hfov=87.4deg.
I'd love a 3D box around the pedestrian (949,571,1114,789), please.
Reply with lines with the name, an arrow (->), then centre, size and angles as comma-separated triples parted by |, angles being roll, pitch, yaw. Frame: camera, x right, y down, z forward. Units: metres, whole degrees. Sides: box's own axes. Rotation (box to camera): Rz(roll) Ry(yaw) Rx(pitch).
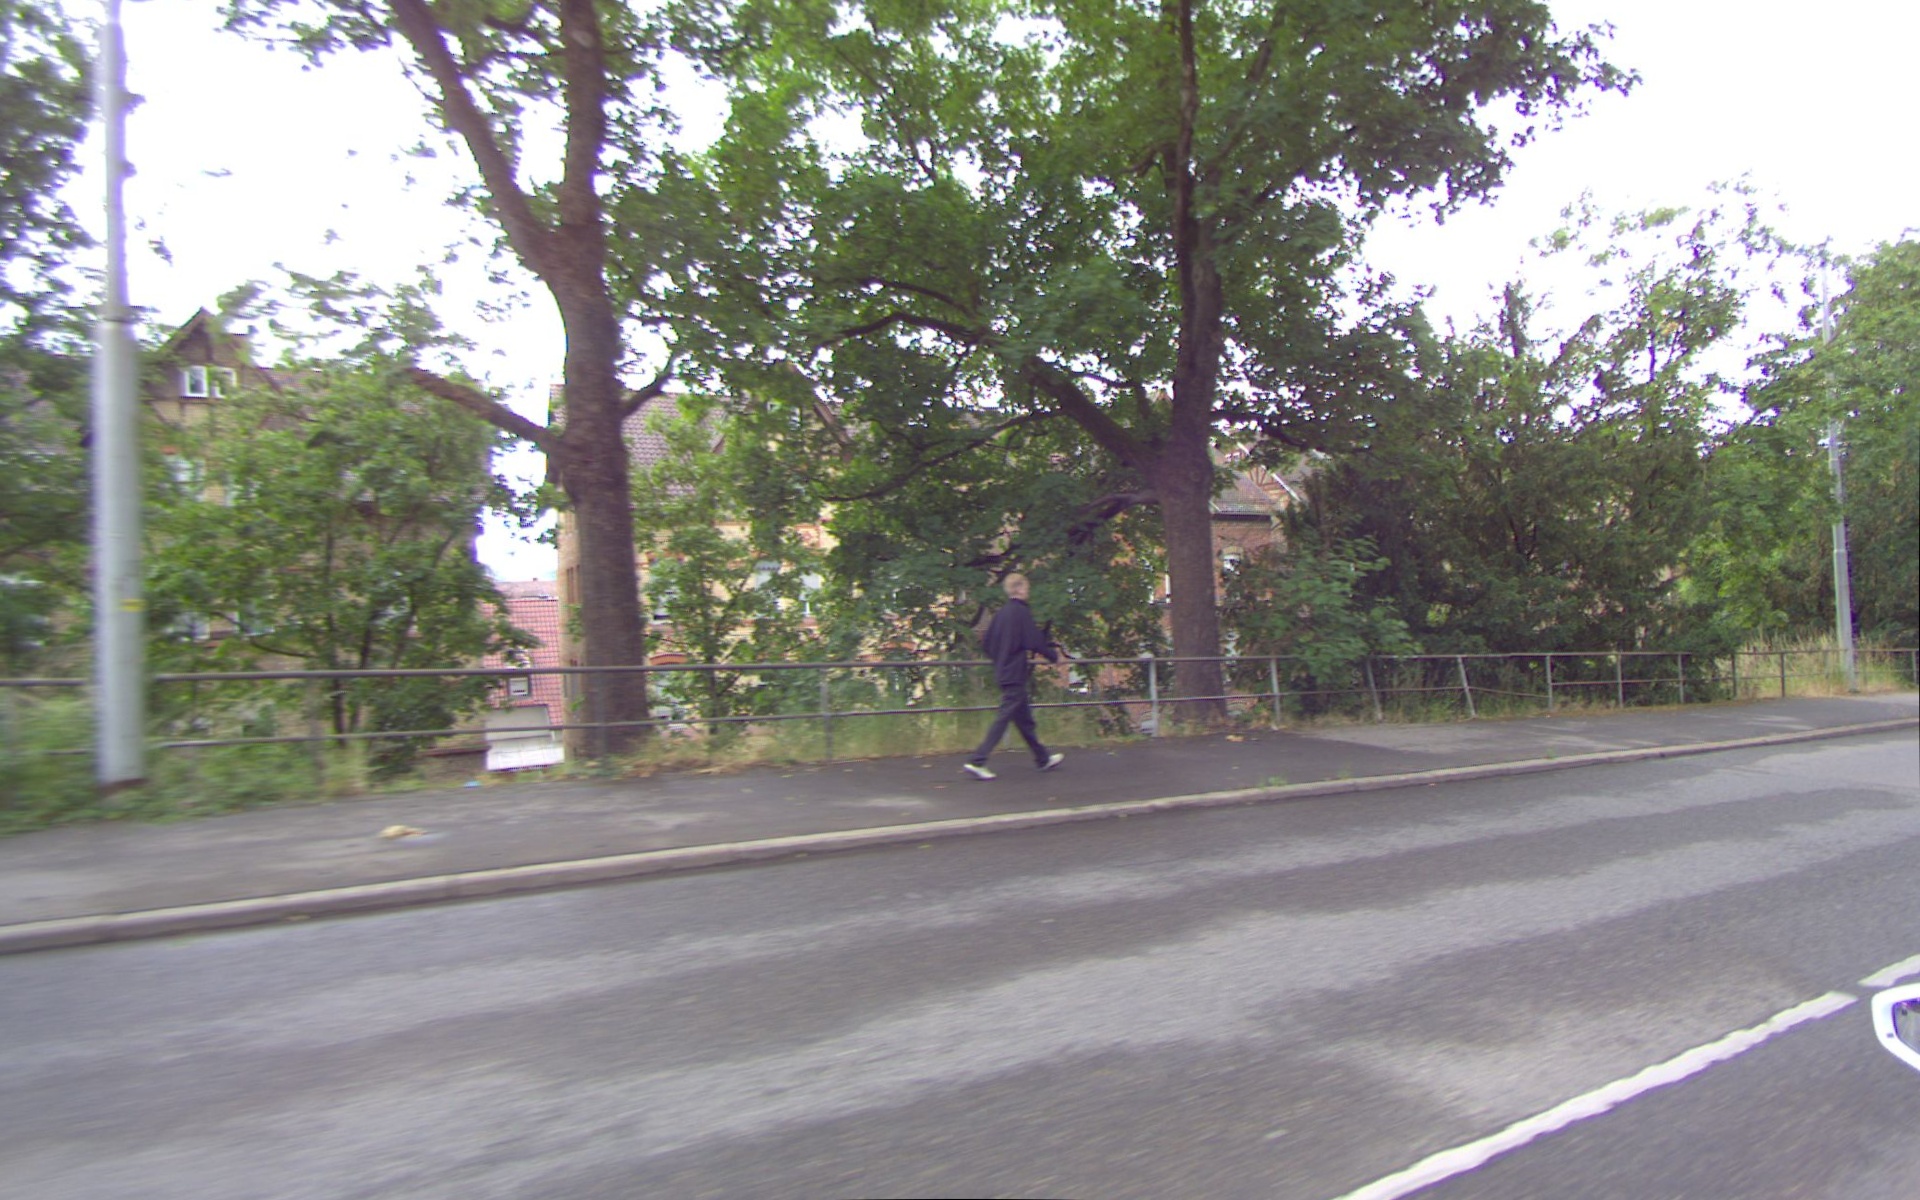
pedestrian -> 0.636, 0.662, 8.971 | 1.196, 1.798, 0.784 | 0, 2, -33
